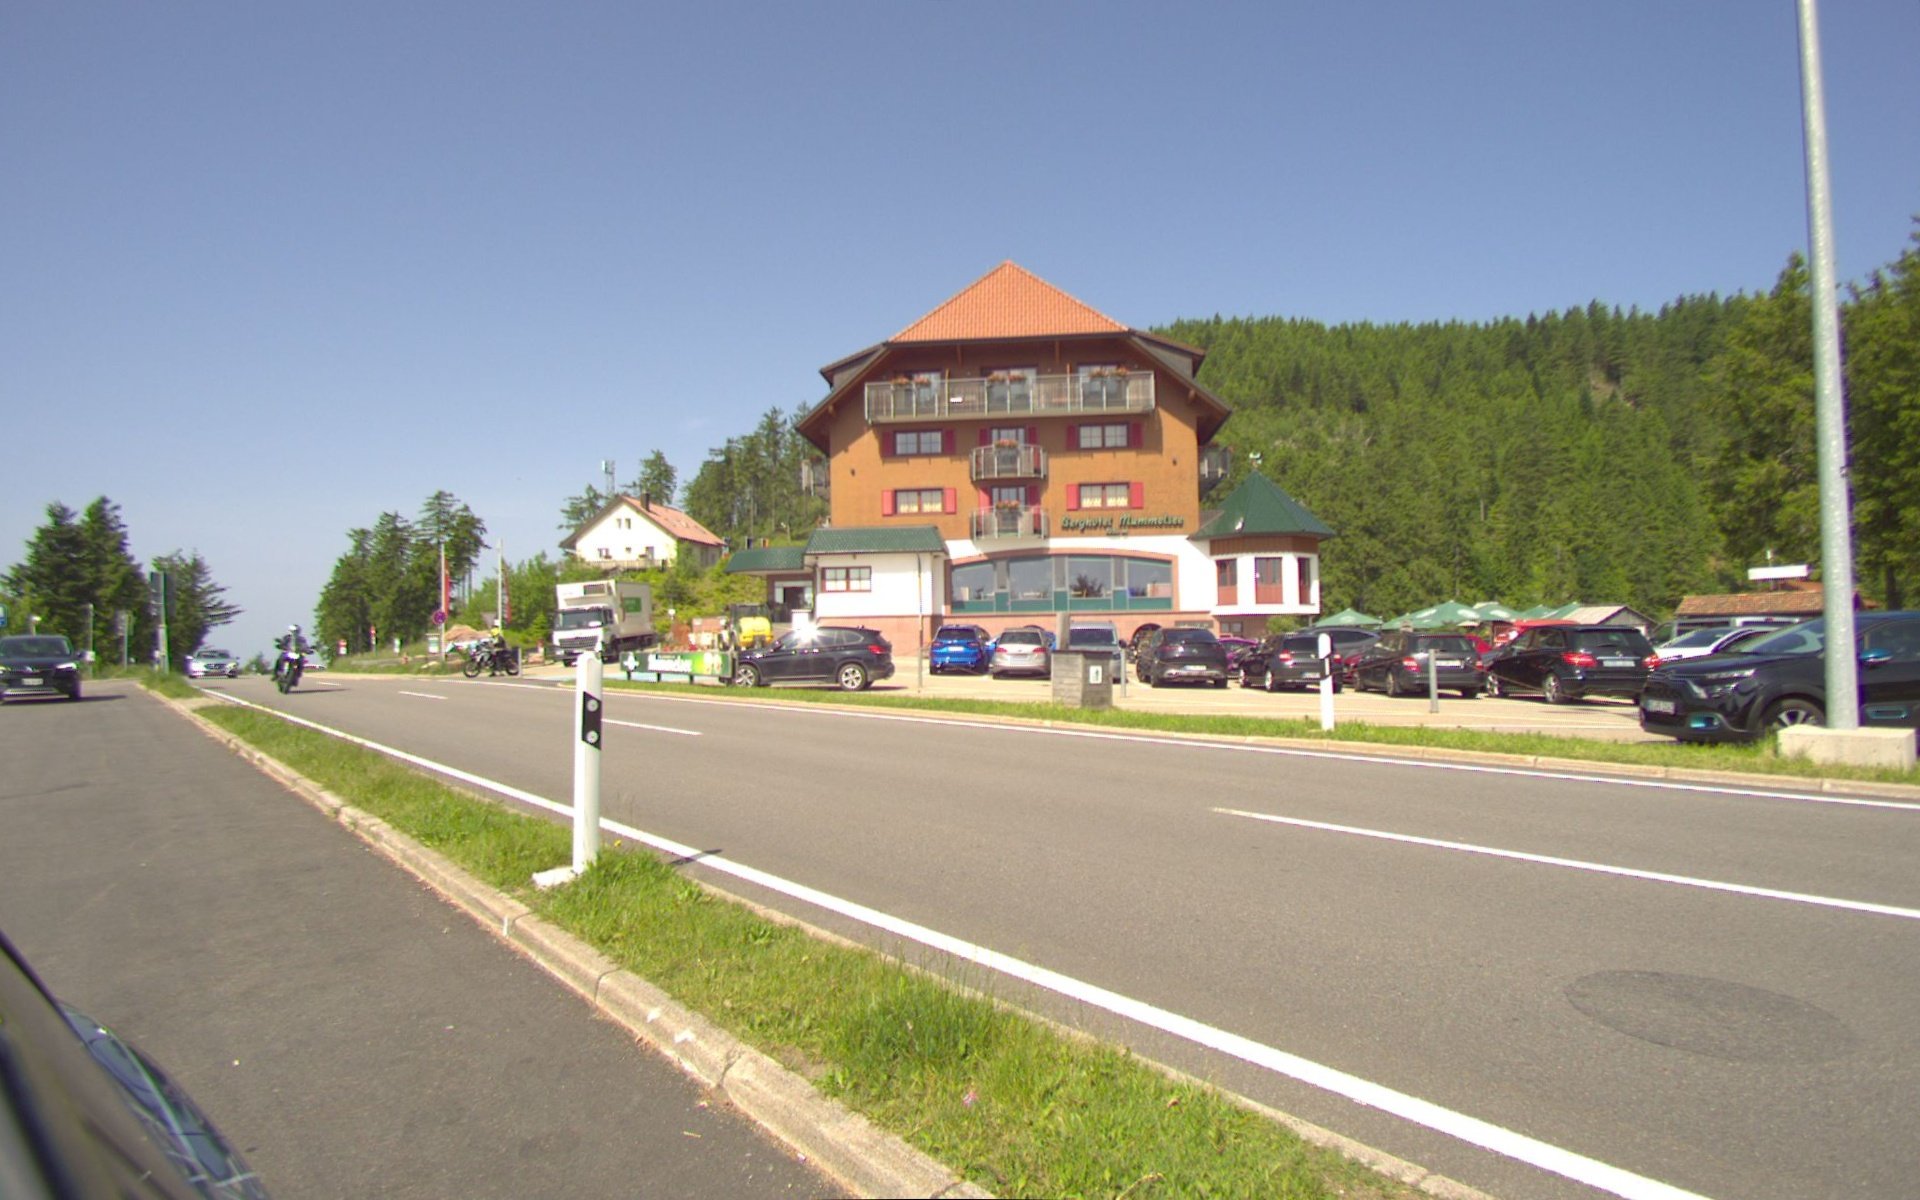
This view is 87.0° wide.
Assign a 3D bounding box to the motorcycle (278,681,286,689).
[{"bbox_3d":[-105.167,13.165,156.951,0.800,1.275,2.334,2,-4,-29],"label":"motorcycle"}]

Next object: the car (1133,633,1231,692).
[{"bbox_3d":[5.816,1.647,26.946,1.889,1.441,3.995,-1,-3,3],"label":"car"}]

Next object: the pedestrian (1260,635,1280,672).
[{"bbox_3d":[12.955,2.244,42.273,0.695,1.501,0.623,-2,-3,12],"label":"pedestrian"}]

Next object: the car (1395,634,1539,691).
[{"bbox_3d":[13.640,1.675,27.526,1.909,1.429,3.998,0,-3,1],"label":"car"}]

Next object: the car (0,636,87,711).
[{"bbox_3d":[-22.037,1.703,23.971,1.955,1.629,4.156,1,-3,-40],"label":"car"}]

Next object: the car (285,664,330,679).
[{"bbox_3d":[-85.171,9.338,132.094,4.656,1.896,1.936,5,-6,-38],"label":"car"}]

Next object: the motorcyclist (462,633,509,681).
[{"bbox_3d":[-17.620,2.090,37.586,1.063,1.733,1.232,-2,-2,38],"label":"motorcyclist"}]

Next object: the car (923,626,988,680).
[{"bbox_3d":[-0.070,1.767,34.440,1.914,1.676,4.540,-1,-2,3],"label":"car"}]

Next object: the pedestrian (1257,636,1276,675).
[{"bbox_3d":[13.018,2.343,43.018,0.695,1.645,0.623,-2,-3,12],"label":"pedestrian"}]

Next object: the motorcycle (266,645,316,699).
[{"bbox_3d":[-17.058,1.802,25.849,0.864,1.266,2.284,1,-2,-29],"label":"motorcycle"}]

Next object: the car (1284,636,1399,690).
[{"bbox_3d":[11.147,1.839,29.868,1.909,1.494,3.998,0,-3,1],"label":"car"}]

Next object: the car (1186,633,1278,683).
[{"bbox_3d":[8.654,1.859,32.526,1.909,1.494,3.998,0,-3,1],"label":"car"}]

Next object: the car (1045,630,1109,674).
[{"bbox_3d":[4.190,1.892,36.685,1.909,1.494,3.998,0,-3,1],"label":"car"}]

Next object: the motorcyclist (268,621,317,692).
[{"bbox_3d":[-17.041,1.420,25.863,0.910,1.731,1.456,1,-2,-29],"label":"motorcyclist"}]

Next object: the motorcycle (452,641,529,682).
[{"bbox_3d":[-17.480,2.253,37.724,1.005,1.417,2.413,-2,-2,38],"label":"motorcycle"}]

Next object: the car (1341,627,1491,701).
[{"bbox_3d":[10.078,1.415,22.715,1.694,1.497,4.074,-1,-3,4],"label":"car"}]

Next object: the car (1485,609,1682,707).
[{"bbox_3d":[12.080,1.144,19.946,1.805,1.717,3.988,-1,-3,9],"label":"car"}]

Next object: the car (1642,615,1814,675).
[{"bbox_3d":[21.552,1.289,28.634,1.884,1.542,3.879,-1,-3,1],"label":"car"}]

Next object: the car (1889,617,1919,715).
[{"bbox_3d":[16.354,0.982,15.041,1.713,1.600,3.727,-1,-3,4],"label":"car"}]

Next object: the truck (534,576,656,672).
[{"bbox_3d":[-17.157,1.096,48.324,3.024,4.002,8.779,-3,0,-4],"label":"truck"}]

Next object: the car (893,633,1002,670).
[{"bbox_3d":[-0.430,1.959,38.220,3.951,1.307,1.710,-1,-3,6],"label":"car"}]

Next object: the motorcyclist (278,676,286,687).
[{"bbox_3d":[-105.146,12.697,156.941,0.866,1.654,1.303,2,-4,-29],"label":"motorcyclist"}]

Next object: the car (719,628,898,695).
[{"bbox_3d":[-3.714,1.539,25.190,4.139,1.552,1.805,-1,-3,4],"label":"car"}]

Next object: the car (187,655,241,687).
[{"bbox_3d":[-36.090,3.414,48.937,1.754,1.468,4.005,2,-4,-41],"label":"car"}]

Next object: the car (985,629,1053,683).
[{"bbox_3d":[1.909,1.756,31.740,1.975,1.557,3.993,-1,-3,5],"label":"car"}]

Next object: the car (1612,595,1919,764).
[{"bbox_3d":[9.263,0.775,10.287,3.956,1.564,1.777,-1,-3,10],"label":"car"}]

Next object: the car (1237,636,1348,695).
[{"bbox_3d":[8.097,1.603,24.948,1.566,1.331,3.636,-1,-3,2],"label":"car"}]

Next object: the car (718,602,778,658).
[{"bbox_3d":[-10.270,1.491,48.799,1.965,2.515,4.013,1,-4,-25],"label":"car"}]

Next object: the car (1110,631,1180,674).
[{"bbox_3d":[6.747,1.954,37.335,1.909,1.494,3.998,0,-3,1],"label":"car"}]

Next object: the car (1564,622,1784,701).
[{"bbox_3d":[15.428,1.331,22.196,1.973,1.564,3.998,0,-3,1],"label":"car"}]

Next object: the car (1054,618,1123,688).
[{"bbox_3d":[3.741,1.561,29.880,1.813,1.878,4.521,-1,-3,6],"label":"car"}]

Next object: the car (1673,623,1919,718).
[{"bbox_3d":[14.083,1.138,16.782,1.789,1.381,3.995,-1,-3,4],"label":"car"}]
